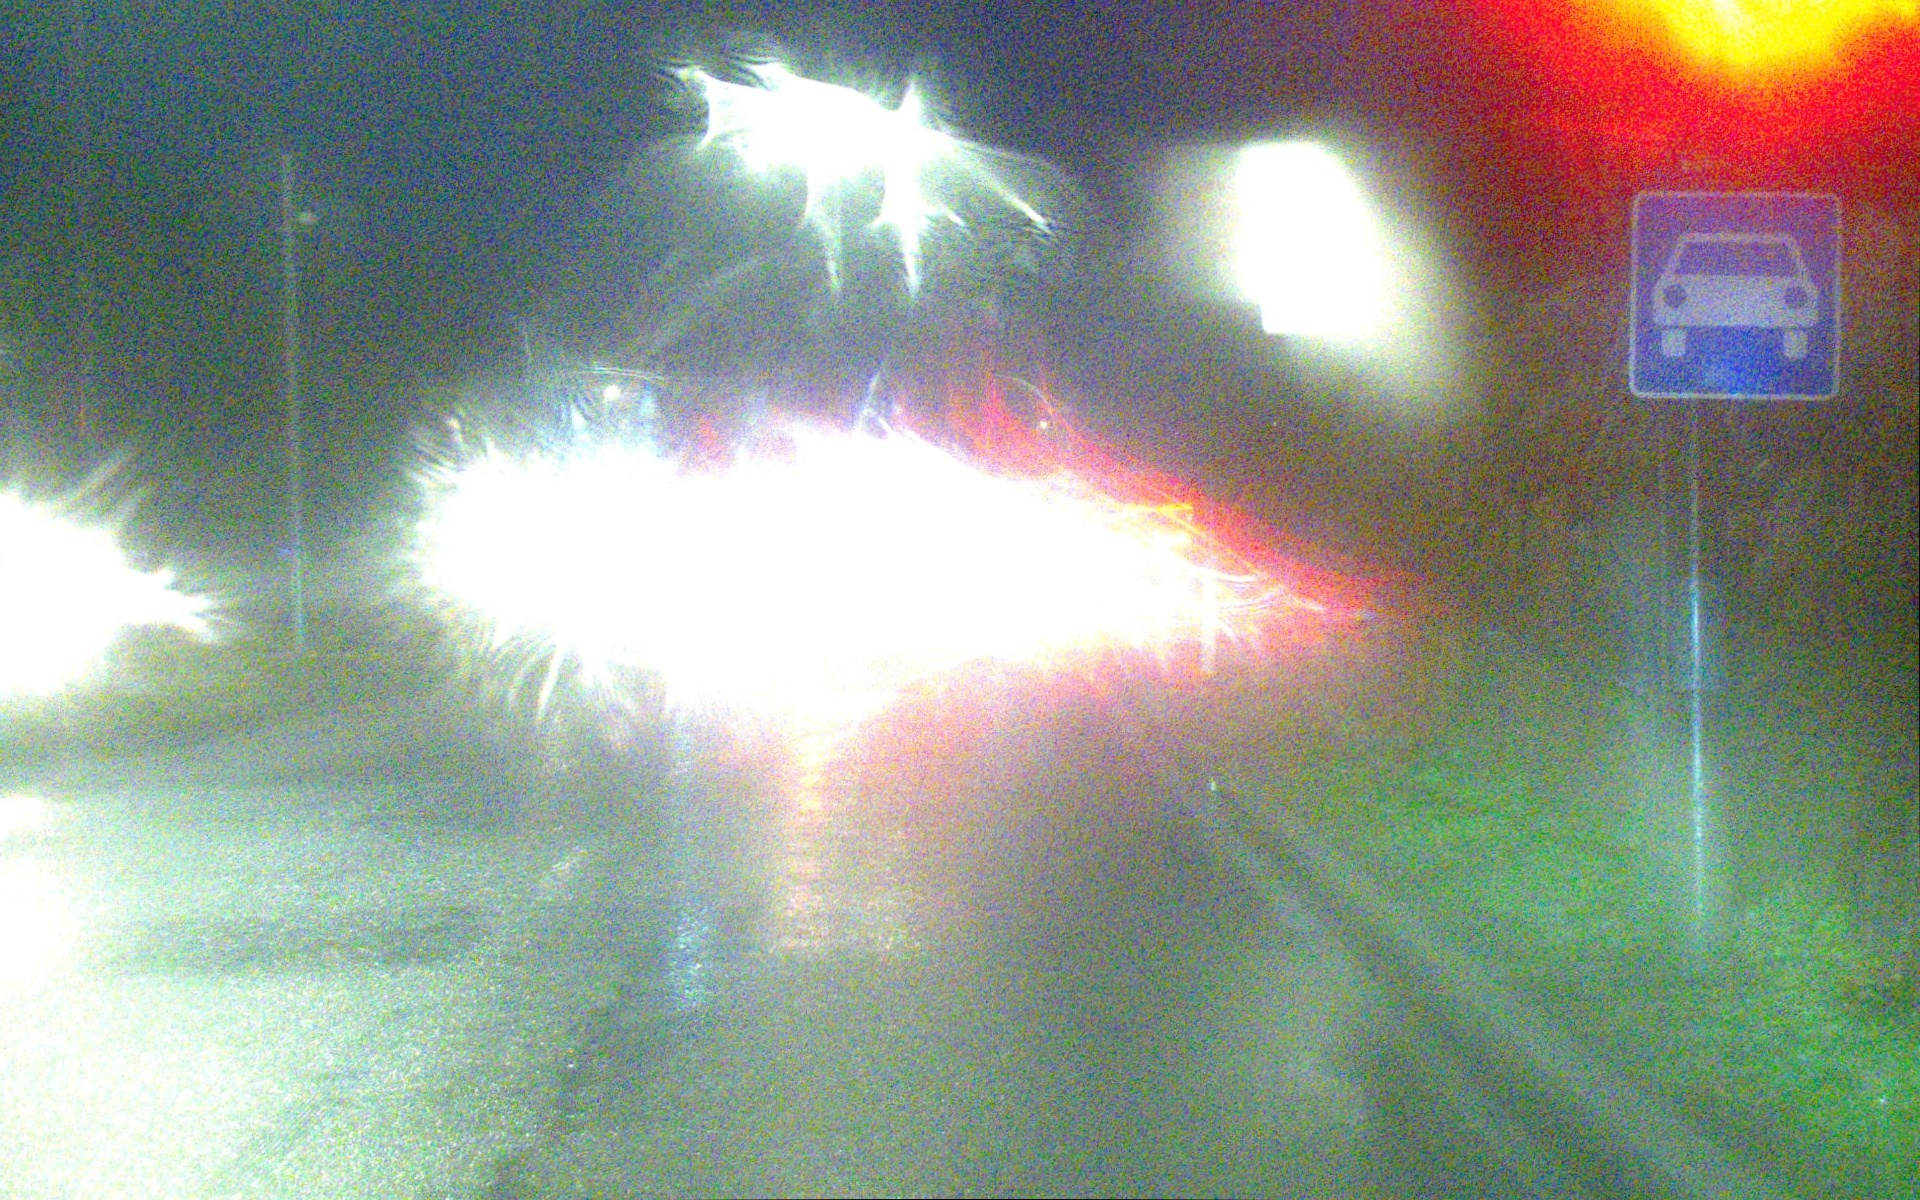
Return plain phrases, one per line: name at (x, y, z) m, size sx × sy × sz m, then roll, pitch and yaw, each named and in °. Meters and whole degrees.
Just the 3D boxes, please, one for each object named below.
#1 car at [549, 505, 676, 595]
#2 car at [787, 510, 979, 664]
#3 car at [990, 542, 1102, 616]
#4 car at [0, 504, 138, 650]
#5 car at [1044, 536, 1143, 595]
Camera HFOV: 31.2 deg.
car at (-6.697, -0.955, 66.643) m, size 1.718 × 1.697 × 4.142 m, roll 0°, pitch 0°, yaw 5°
car at (-0.821, -0.145, 37.913) m, size 1.993 × 1.605 × 4.103 m, roll 0°, pitch 0°, yaw -1°
car at (1.687, -0.417, 68.694) m, size 2.103 × 1.434 × 4.000 m, roll 0°, pitch 0°, yaw 0°
car at (-10.354, -0.248, 37.743) m, size 1.585 × 1.520 × 3.651 m, roll 0°, pitch 0°, yaw 3°
car at (3.075, -0.788, 80.139) m, size 2.107 × 1.335 × 4.294 m, roll 0°, pitch 0°, yaw 0°
